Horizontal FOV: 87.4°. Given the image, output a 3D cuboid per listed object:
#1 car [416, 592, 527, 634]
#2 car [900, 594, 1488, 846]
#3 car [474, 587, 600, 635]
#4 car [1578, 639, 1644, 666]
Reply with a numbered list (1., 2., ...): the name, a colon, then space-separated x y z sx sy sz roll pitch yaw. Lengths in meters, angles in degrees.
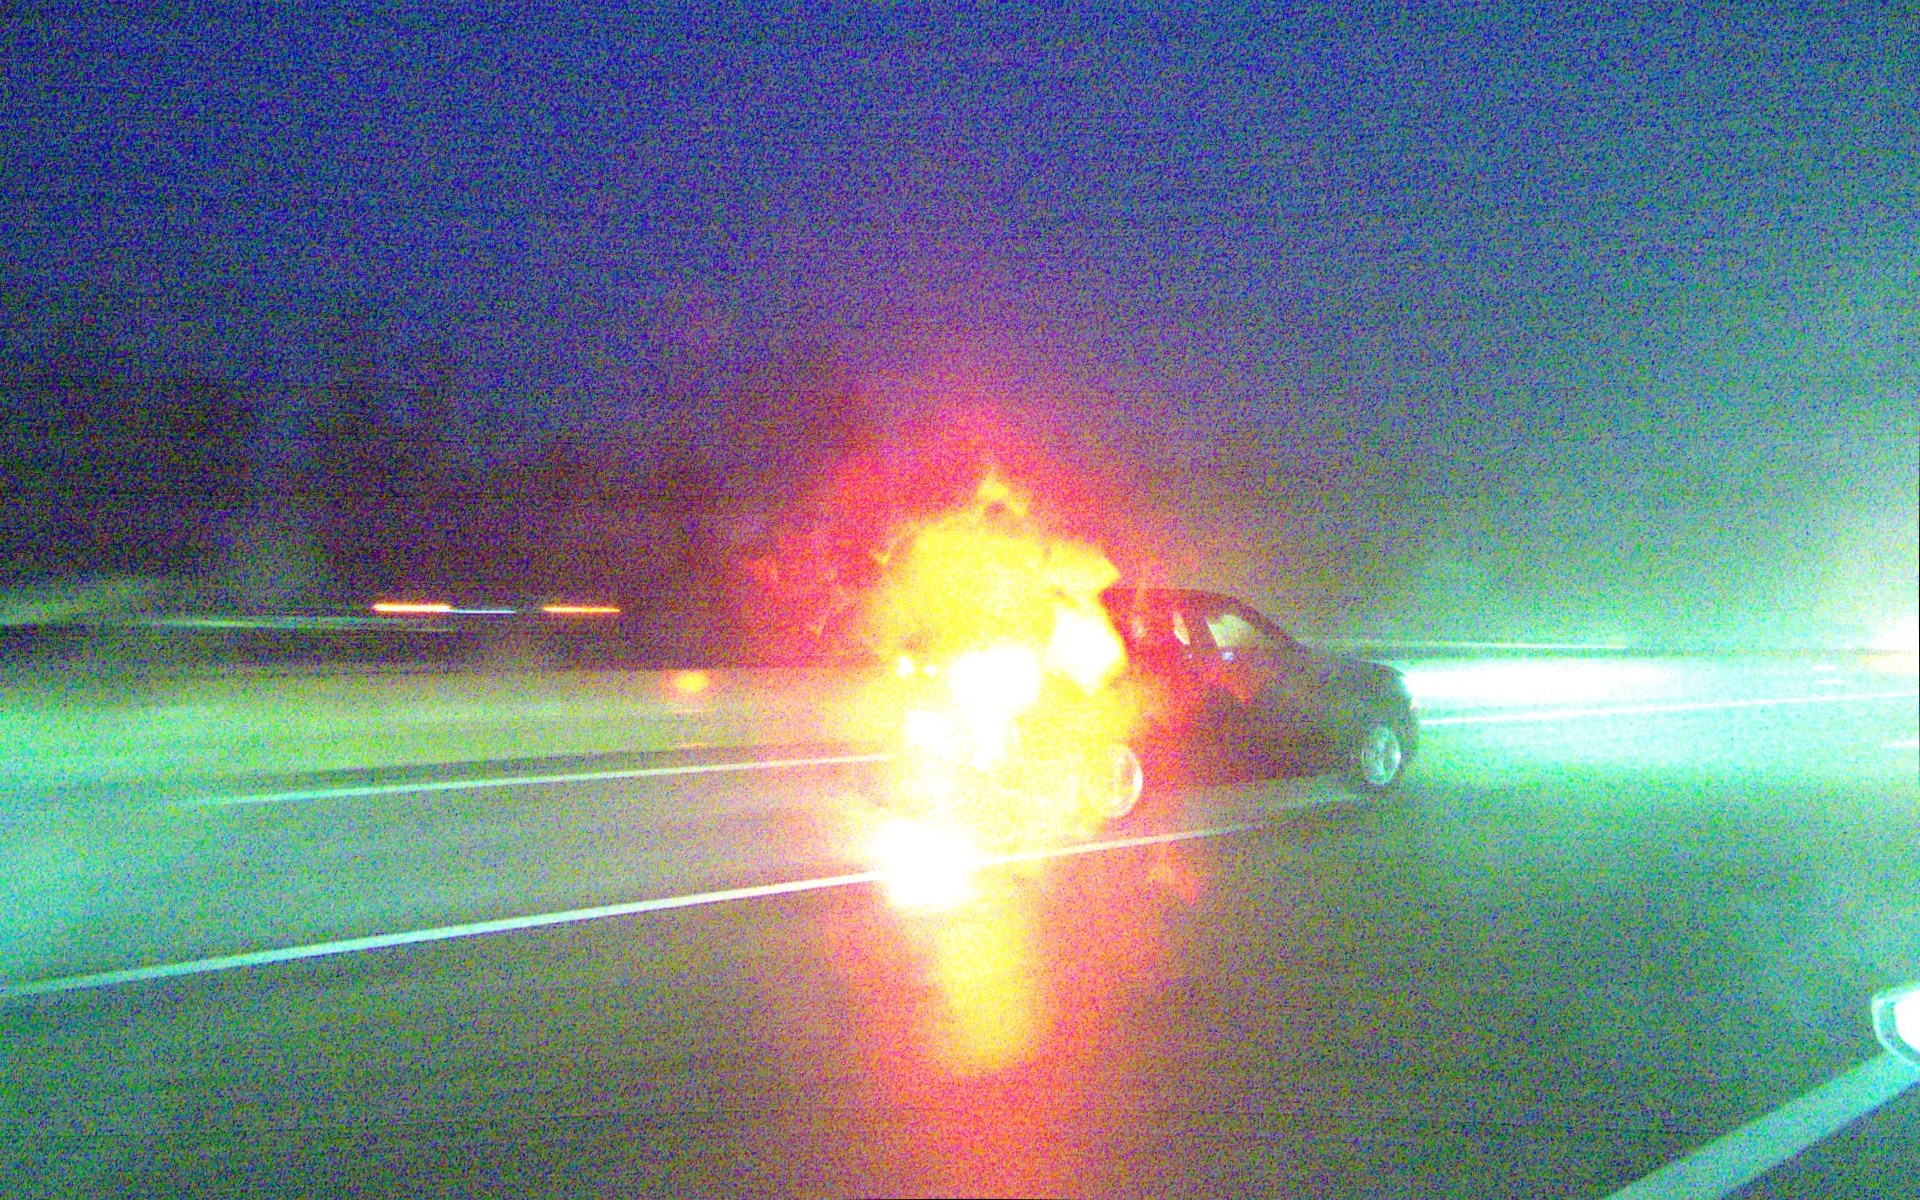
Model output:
1. car: -20.660 0.563 42.679 4.116 1.699 1.988 1 0 -24
2. car: 2.019 0.789 8.212 4.694 1.561 1.849 1 0 -30
3. car: -16.800 0.438 40.007 4.505 1.795 1.988 1 0 -24
4. car: 47.896 3.846 73.917 4.508 1.795 1.987 1 0 -26
